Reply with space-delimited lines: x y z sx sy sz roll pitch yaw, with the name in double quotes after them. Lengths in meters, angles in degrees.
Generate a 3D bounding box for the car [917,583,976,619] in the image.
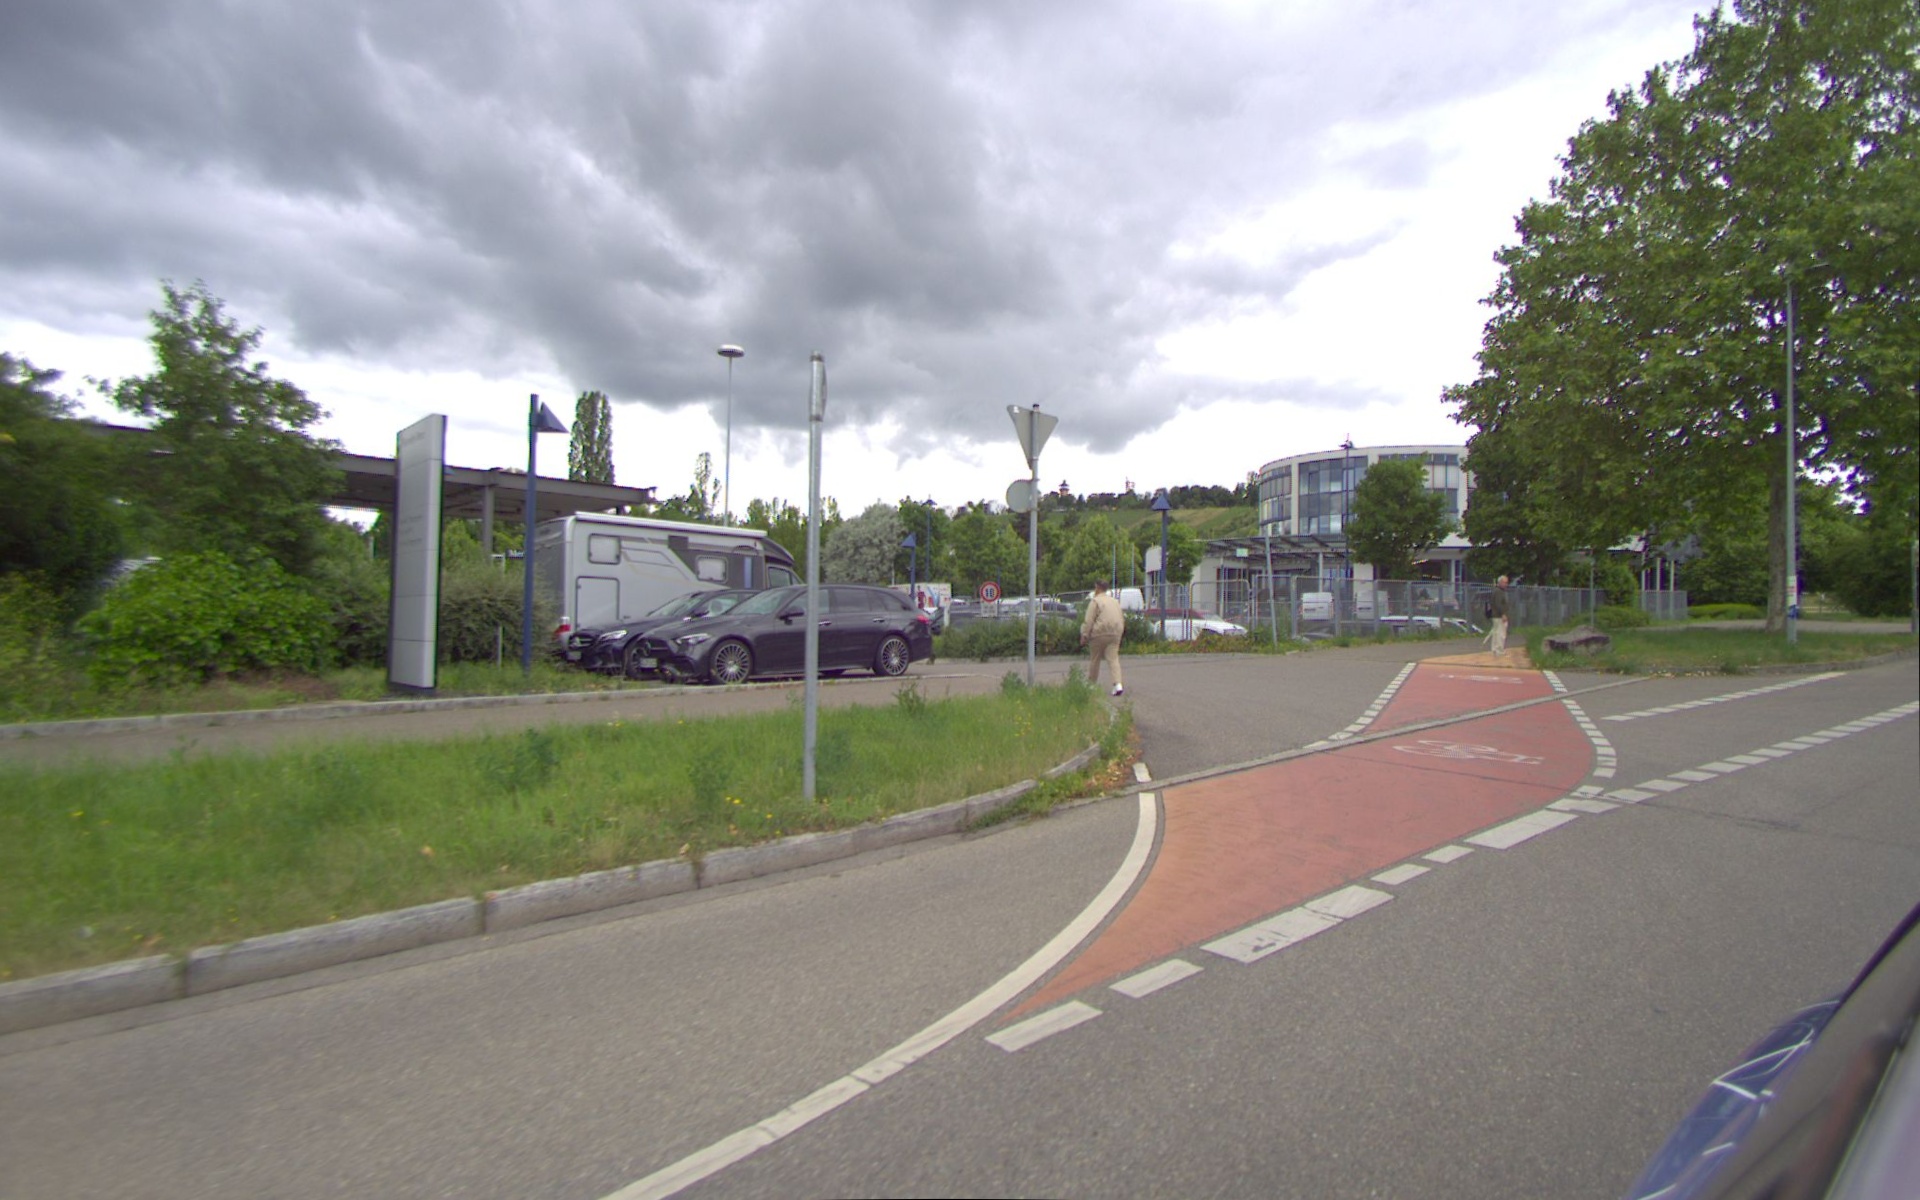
-1.074 0.080 81.913 4.404 2.791 2.218 2 -1 -40 "car"

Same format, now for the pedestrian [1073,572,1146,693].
2.018 0.418 13.813 0.796 1.586 0.945 0 2 -3 "pedestrian"

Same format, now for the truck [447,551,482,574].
-47.827 -3.604 97.670 1.966 2.039 3.992 -1 0 -42 "truck"

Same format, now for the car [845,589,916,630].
-5.166 0.587 65.557 2.185 2.555 4.470 2 -1 -45 "car"

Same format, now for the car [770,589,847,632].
-11.002 0.725 73.755 5.206 2.958 1.997 -1 0 -39 "car"

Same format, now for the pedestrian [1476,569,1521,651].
11.628 0.200 21.854 0.732 1.748 0.494 2 2 44 "pedestrian"

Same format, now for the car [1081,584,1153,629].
10.164 0.437 65.463 4.404 2.791 2.218 2 -1 -40 "car"

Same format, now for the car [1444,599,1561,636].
23.732 0.788 44.379 1.788 1.467 4.179 2 -4 -44 "car"

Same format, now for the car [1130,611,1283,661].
7.205 1.102 29.839 1.964 1.335 3.993 2 -4 -39 "car"

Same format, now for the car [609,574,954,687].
-2.523 0.423 15.205 4.896 1.435 1.848 0 -2 -43 "car"

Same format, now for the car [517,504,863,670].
-5.143 -0.081 20.370 6.613 2.855 1.994 3 -5 -45 "car"

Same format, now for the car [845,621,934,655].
-3.110 1.657 43.946 1.963 1.335 3.995 1 -4 -38 "car"

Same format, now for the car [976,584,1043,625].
3.535 0.326 71.621 4.404 2.791 2.218 2 -1 -40 "car"

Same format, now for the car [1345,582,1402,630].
21.203 0.324 52.108 2.085 2.304 4.462 1 -1 14 "car"

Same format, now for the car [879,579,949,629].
-3.117 0.247 68.058 2.185 3.240 4.508 2 -1 -45 "car"

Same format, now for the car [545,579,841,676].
-4.412 0.478 17.179 4.537 1.435 1.848 1 -4 -43 "car"

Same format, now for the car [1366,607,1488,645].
19.249 1.103 41.820 1.788 1.467 4.179 2 -4 -44 "car"

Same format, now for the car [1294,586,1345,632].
18.934 0.471 53.499 2.085 2.304 4.462 1 -1 14 "car"
